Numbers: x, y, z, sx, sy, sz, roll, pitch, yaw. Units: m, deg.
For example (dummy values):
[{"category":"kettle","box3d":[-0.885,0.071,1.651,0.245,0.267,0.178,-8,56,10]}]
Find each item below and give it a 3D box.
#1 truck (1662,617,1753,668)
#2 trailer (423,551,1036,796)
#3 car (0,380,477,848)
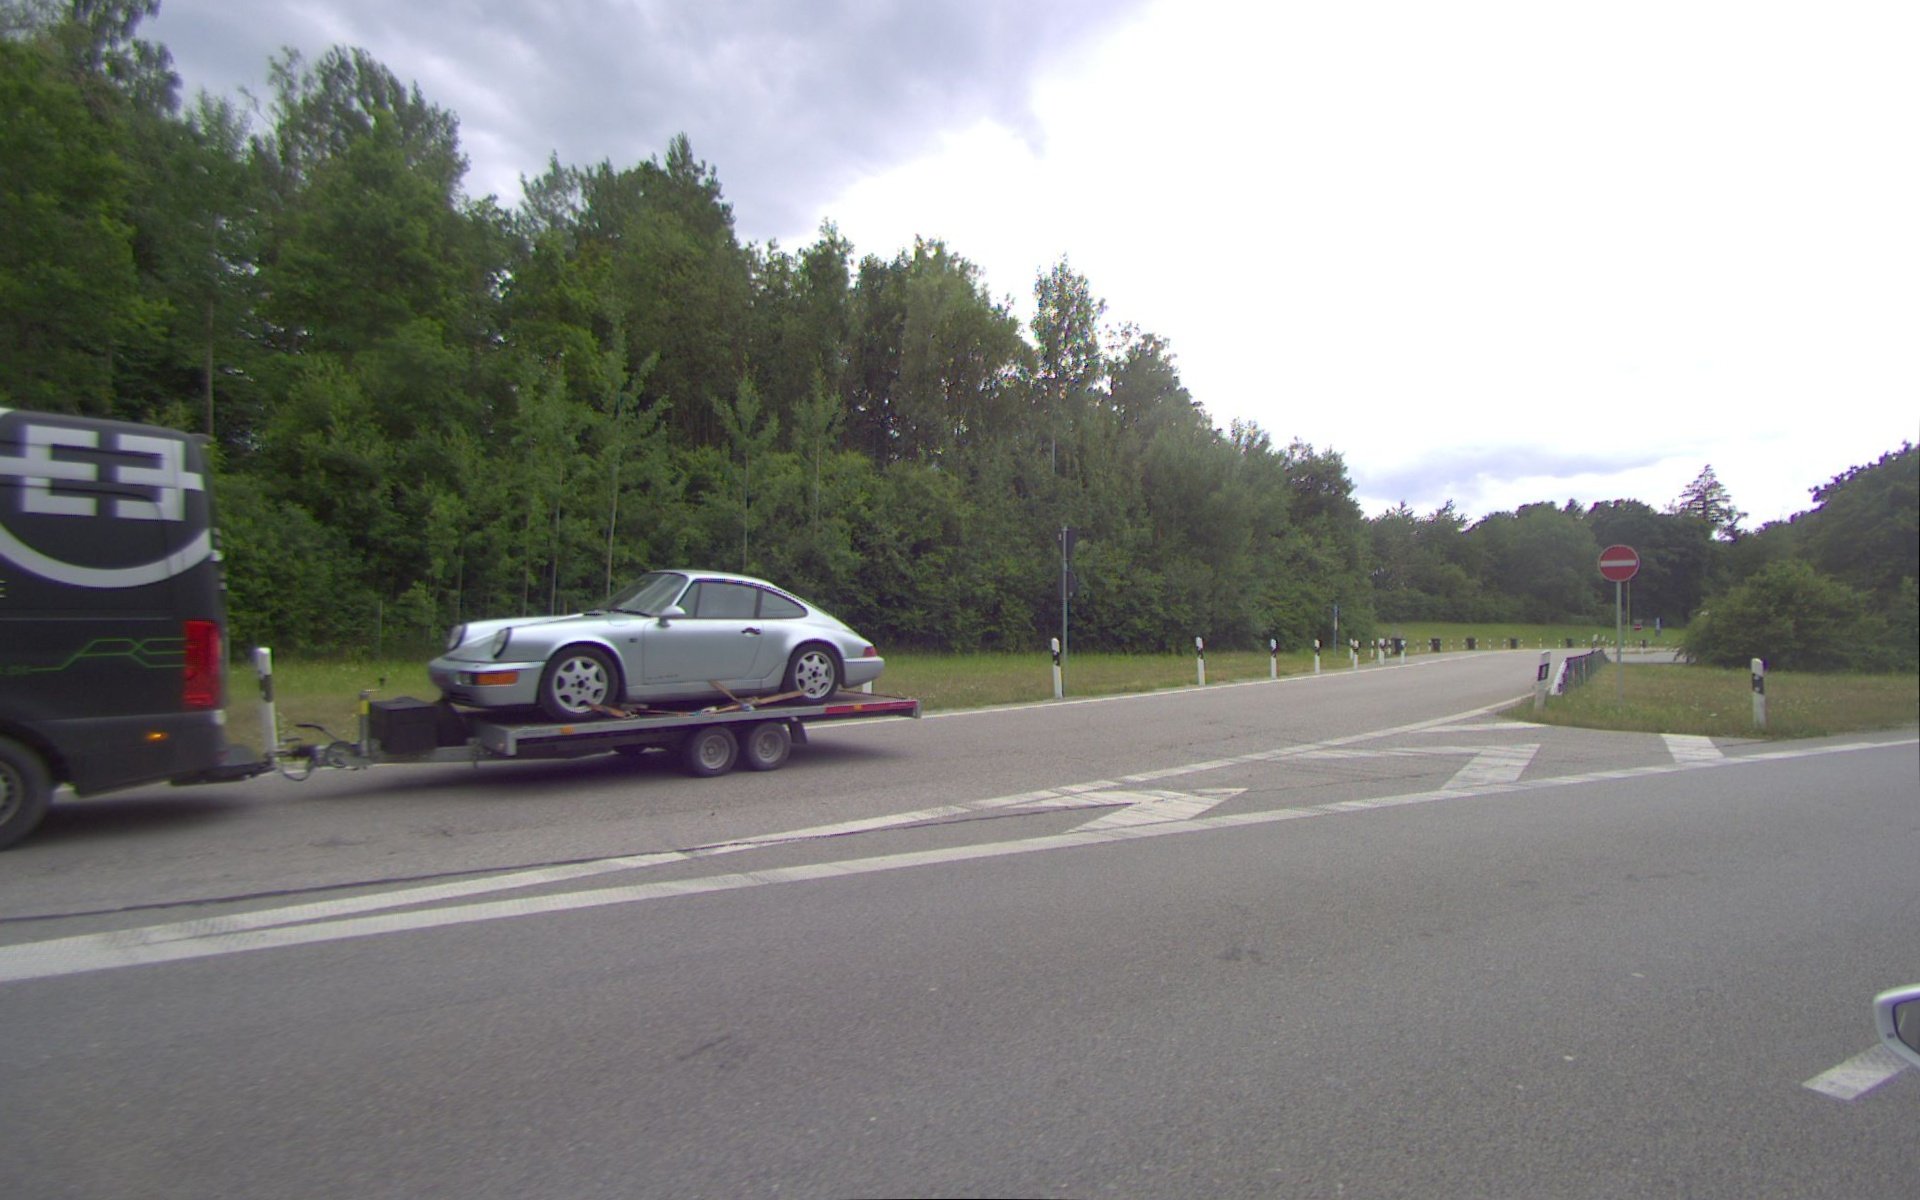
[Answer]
[{"category":"truck","box3d":[47.052,2.689,63.159,7.143,3.052,1.984,2,0,-31]},{"category":"trailer","box3d":[-1.995,0.605,10.031,5.643,1.815,2.037,2,0,-40]},{"category":"car","box3d":[-6.841,0.058,5.636,7.106,2.563,2.237,2,-2,-40]}]
